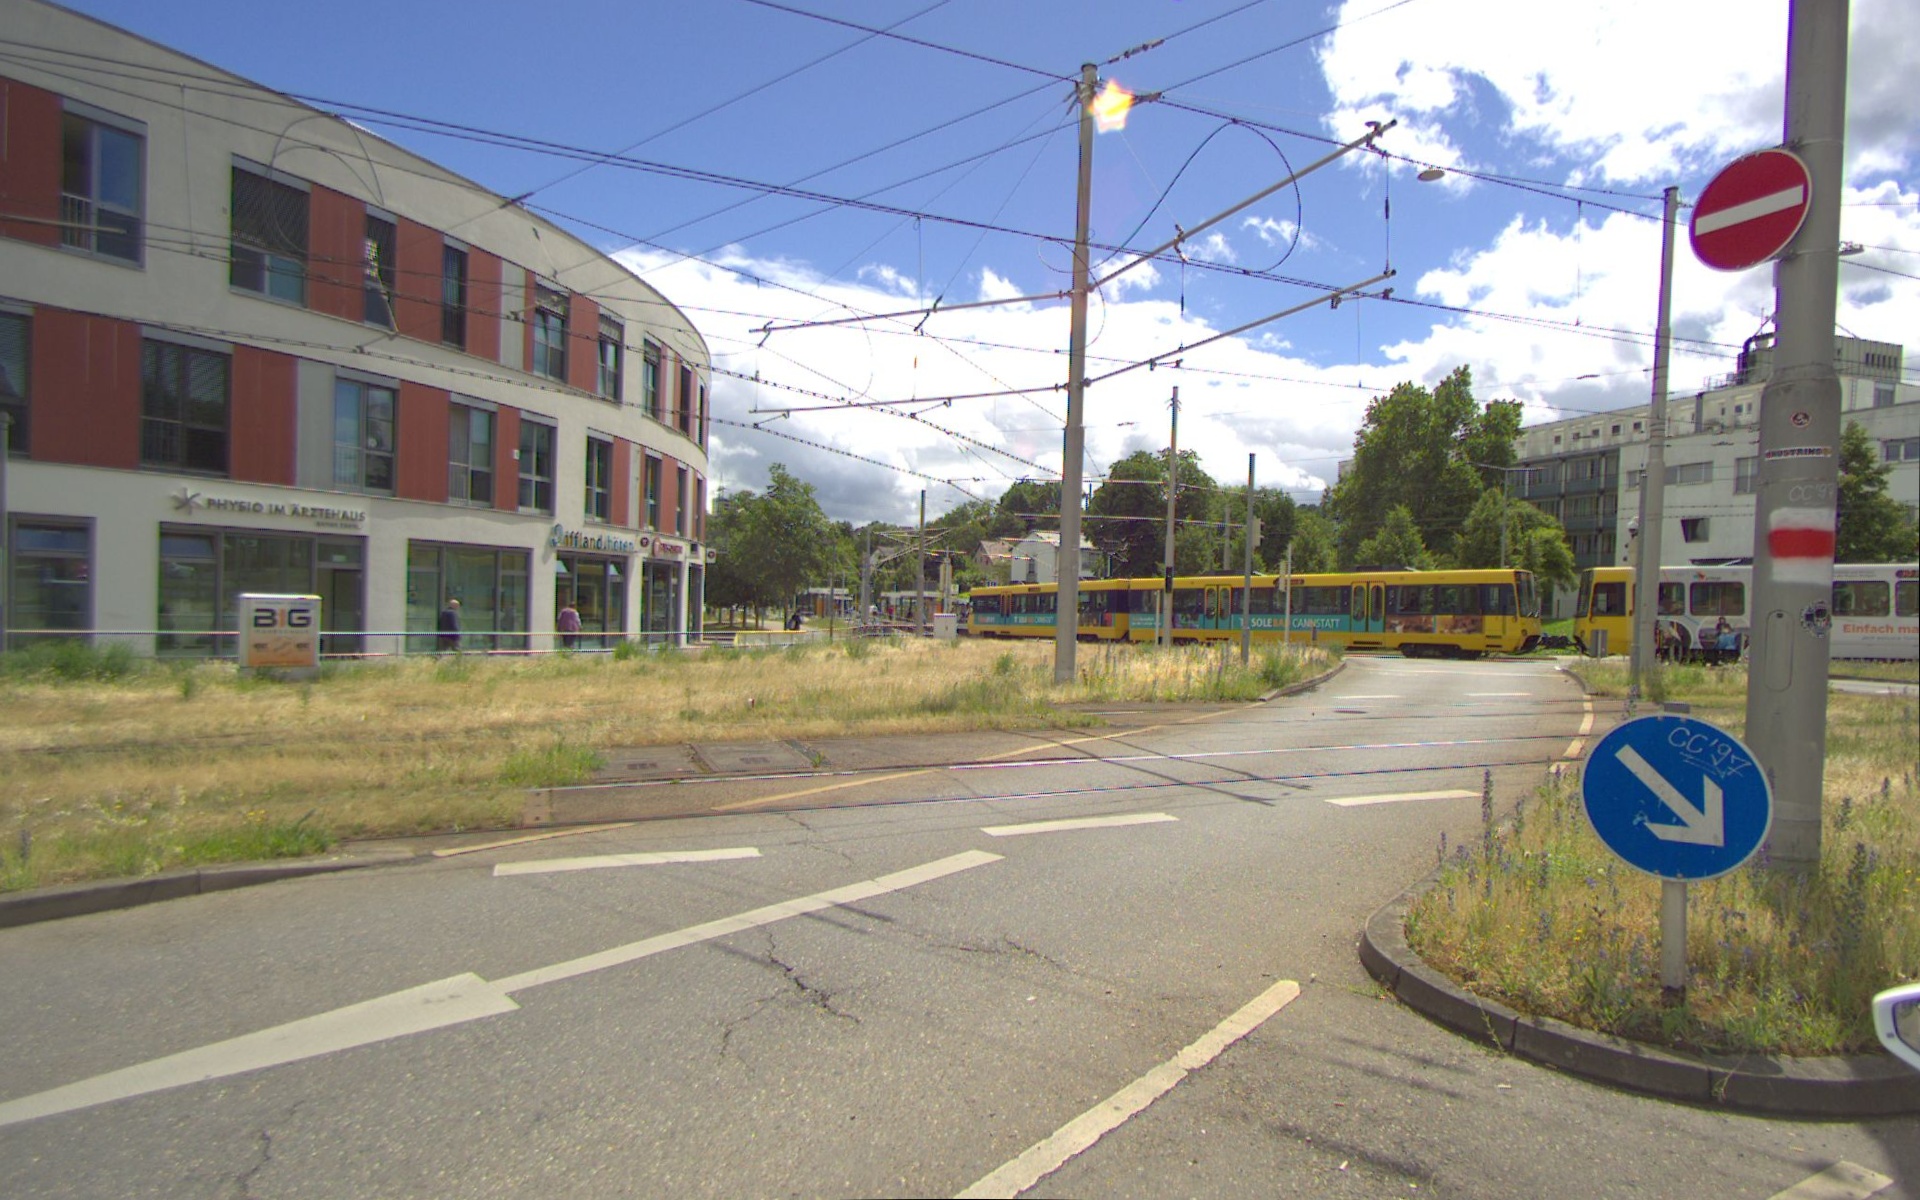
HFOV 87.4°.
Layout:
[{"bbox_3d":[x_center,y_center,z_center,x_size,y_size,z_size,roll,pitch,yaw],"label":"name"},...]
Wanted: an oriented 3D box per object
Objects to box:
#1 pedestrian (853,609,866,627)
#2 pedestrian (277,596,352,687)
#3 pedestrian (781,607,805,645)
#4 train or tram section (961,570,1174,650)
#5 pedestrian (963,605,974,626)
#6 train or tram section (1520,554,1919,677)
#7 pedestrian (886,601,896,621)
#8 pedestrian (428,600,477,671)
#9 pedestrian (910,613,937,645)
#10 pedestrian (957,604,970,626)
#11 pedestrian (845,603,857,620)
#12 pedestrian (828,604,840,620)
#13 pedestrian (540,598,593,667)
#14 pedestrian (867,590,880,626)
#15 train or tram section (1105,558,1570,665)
[{"bbox_3d":[-11.605,2.117,116.289,1.241,2.040,1.121,2,-1,-19],"label":"pedestrian"},{"bbox_3d":[-14.662,0.939,22.828,0.849,1.994,1.114,1,-1,29],"label":"pedestrian"},{"bbox_3d":[-7.470,1.164,44.961,0.847,1.646,0.733,1,-1,7],"label":"pedestrian"},{"bbox_3d":[5.634,0.687,60.343,3.710,3.970,18.782,2,-2,-24],"label":"train or tram section"},{"bbox_3d":[0.721,1.274,82.490,0.744,1.707,0.671,1,0,-16],"label":"pedestrian"},{"bbox_3d":[30.682,0.544,33.909,20.241,3.930,3.760,1,-2,24],"label":"train or tram section"},{"bbox_3d":[-7.195,1.140,104.630,0.807,2.040,0.771,2,-1,-15],"label":"pedestrian"},{"bbox_3d":[-11.653,0.809,23.066,0.722,1.601,0.690,0,-1,29],"label":"pedestrian"},{"bbox_3d":[-1.933,1.537,53.487,0.967,1.646,1.034,1,-1,31],"label":"pedestrian"},{"bbox_3d":[0.303,1.208,81.759,0.824,1.777,0.795,1,0,-16],"label":"pedestrian"},{"bbox_3d":[-13.241,1.373,122.093,1.241,2.040,1.121,2,-1,-19],"label":"pedestrian"},{"bbox_3d":[-16.752,1.601,133.498,1.241,2.040,1.121,2,-1,-19],"label":"pedestrian"},{"bbox_3d":[-11.646,0.955,29.741,0.849,1.994,1.104,1,-1,30],"label":"pedestrian"},{"bbox_3d":[-14.947,1.386,173.214,1.964,5.998,2.368,2,-1,-9],"label":"pedestrian"},{"bbox_3d":[15.534,0.516,44.991,3.736,3.880,19.891,3,-2,-43],"label":"train or tram section"}]
